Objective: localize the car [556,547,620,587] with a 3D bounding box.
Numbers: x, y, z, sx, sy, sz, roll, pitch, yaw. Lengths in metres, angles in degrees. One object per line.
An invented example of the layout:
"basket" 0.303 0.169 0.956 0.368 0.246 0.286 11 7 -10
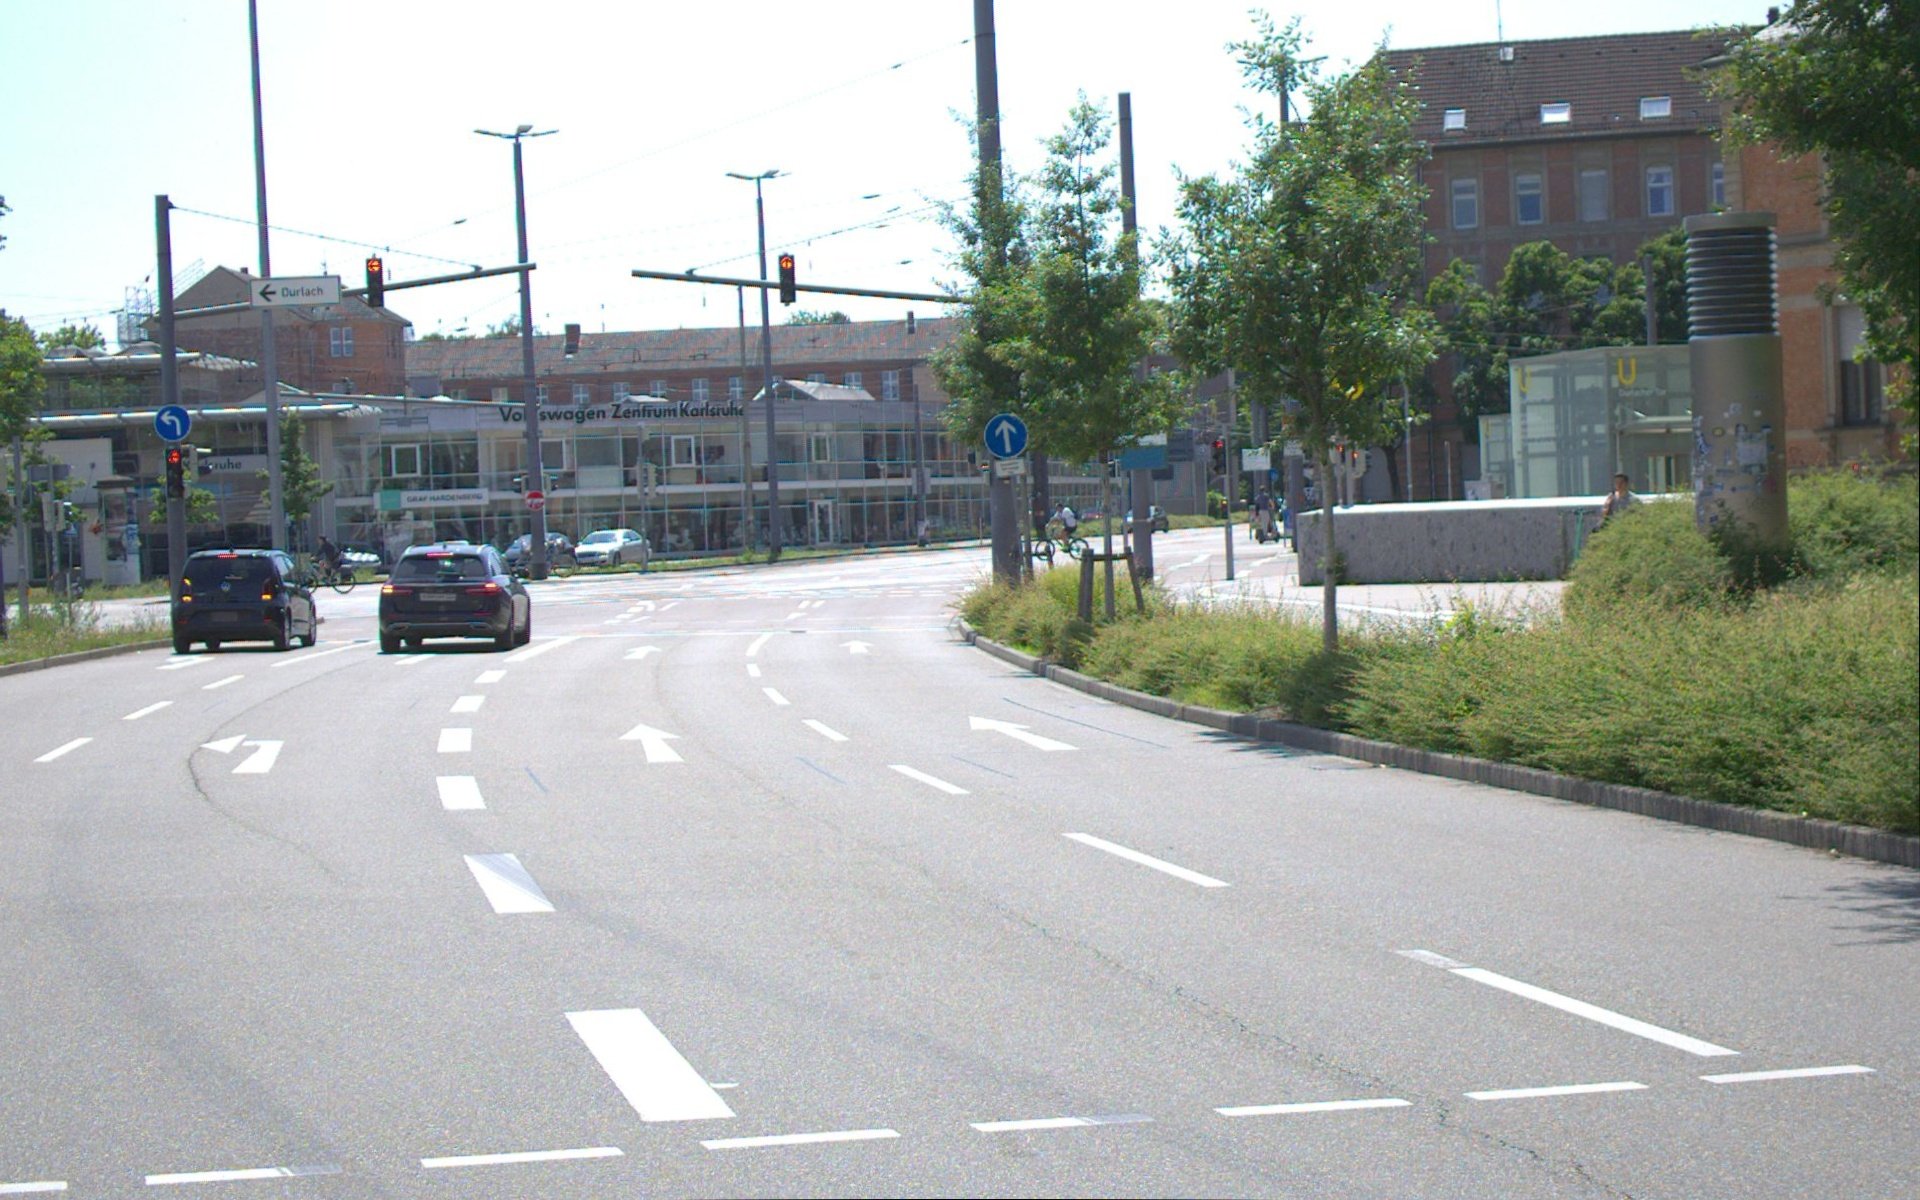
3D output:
"car" -13.806 -1.236 127.678 1.432 1.281 3.260 -1 3 11

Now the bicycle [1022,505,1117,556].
"bicycle" 3.351 -2.133 105.052 2.825 1.458 0.634 -2 3 -3

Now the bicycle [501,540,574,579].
"bicycle" -13.090 -1.249 106.516 2.160 1.103 0.457 -3 3 -19

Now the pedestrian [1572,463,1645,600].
"pedestrian" 8.189 -0.873 43.458 0.732 1.700 0.810 -1 2 0

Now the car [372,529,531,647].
"car" -7.279 -0.207 49.562 1.716 1.551 4.587 -2 1 -2

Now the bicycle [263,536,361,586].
"bicycle" -19.130 -1.160 101.519 2.774 1.380 0.671 -2 3 -9

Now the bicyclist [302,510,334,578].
"bicyclist" -18.952 -1.644 101.529 0.845 1.958 0.627 -2 3 -9

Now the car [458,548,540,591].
"car" -15.887 -1.059 118.648 1.539 1.273 3.537 0 4 15

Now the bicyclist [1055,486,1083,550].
"bicyclist" 3.335 -2.513 105.027 0.763 1.931 0.660 -2 3 -3

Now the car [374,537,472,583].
"car" -17.723 -1.335 113.681 1.620 1.385 4.122 -2 2 15

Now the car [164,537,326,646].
"car" -10.458 -0.155 50.508 1.621 1.458 4.001 -2 1 -2

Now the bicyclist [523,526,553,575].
"bicyclist" -13.074 -1.548 106.516 0.732 1.474 0.656 -3 3 -20
